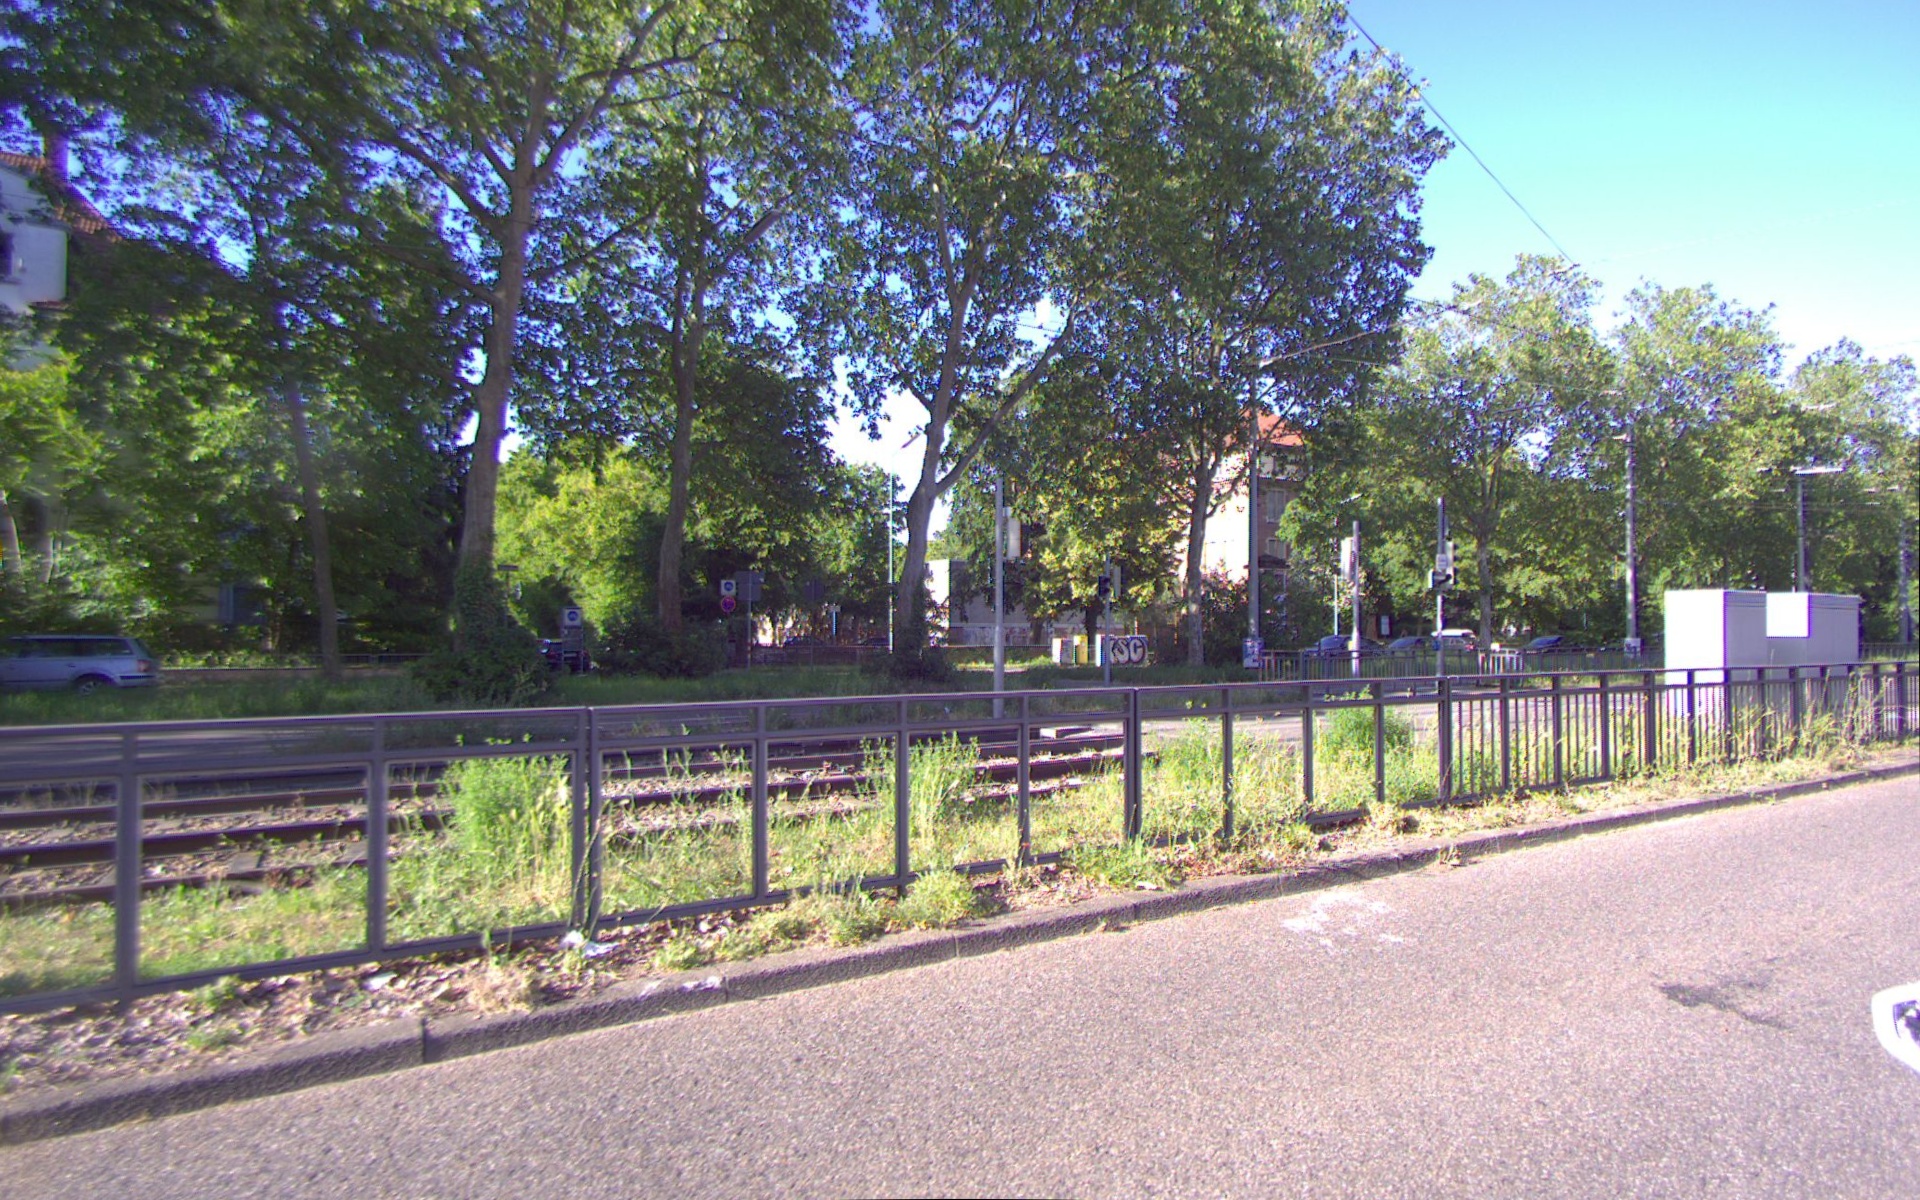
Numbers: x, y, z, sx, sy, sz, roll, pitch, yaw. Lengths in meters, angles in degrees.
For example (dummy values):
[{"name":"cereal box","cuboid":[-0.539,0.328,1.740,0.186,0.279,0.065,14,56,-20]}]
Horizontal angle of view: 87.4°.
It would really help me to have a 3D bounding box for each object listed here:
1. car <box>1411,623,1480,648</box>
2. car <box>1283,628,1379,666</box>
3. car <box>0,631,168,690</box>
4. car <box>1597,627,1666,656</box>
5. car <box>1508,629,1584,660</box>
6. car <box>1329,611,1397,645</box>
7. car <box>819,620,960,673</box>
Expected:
[{"name":"car","cuboid":[30.672,2.232,63.574,1.375,1.514,3.974,1,-1,-26]},{"name":"car","cuboid":[15.585,1.971,42.166,4.099,1.529,1.660,1,-2,-32]},{"name":"car","cuboid":[-18.541,1.221,20.830,3.184,1.131,1.463,1,-1,-34]},{"name":"car","cuboid":[37.266,2.258,55.747,4.099,1.529,1.660,1,-1,-32]},{"name":"car","cuboid":[30.020,2.240,51.471,4.099,1.529,1.660,1,-2,-32]},{"name":"car","cuboid":[25.322,1.754,63.080,3.953,2.040,1.984,1,-1,-31]},{"name":"car","cuboid":[-2.153,1.411,31.159,4.099,1.529,1.660,1,-1,-32]}]
